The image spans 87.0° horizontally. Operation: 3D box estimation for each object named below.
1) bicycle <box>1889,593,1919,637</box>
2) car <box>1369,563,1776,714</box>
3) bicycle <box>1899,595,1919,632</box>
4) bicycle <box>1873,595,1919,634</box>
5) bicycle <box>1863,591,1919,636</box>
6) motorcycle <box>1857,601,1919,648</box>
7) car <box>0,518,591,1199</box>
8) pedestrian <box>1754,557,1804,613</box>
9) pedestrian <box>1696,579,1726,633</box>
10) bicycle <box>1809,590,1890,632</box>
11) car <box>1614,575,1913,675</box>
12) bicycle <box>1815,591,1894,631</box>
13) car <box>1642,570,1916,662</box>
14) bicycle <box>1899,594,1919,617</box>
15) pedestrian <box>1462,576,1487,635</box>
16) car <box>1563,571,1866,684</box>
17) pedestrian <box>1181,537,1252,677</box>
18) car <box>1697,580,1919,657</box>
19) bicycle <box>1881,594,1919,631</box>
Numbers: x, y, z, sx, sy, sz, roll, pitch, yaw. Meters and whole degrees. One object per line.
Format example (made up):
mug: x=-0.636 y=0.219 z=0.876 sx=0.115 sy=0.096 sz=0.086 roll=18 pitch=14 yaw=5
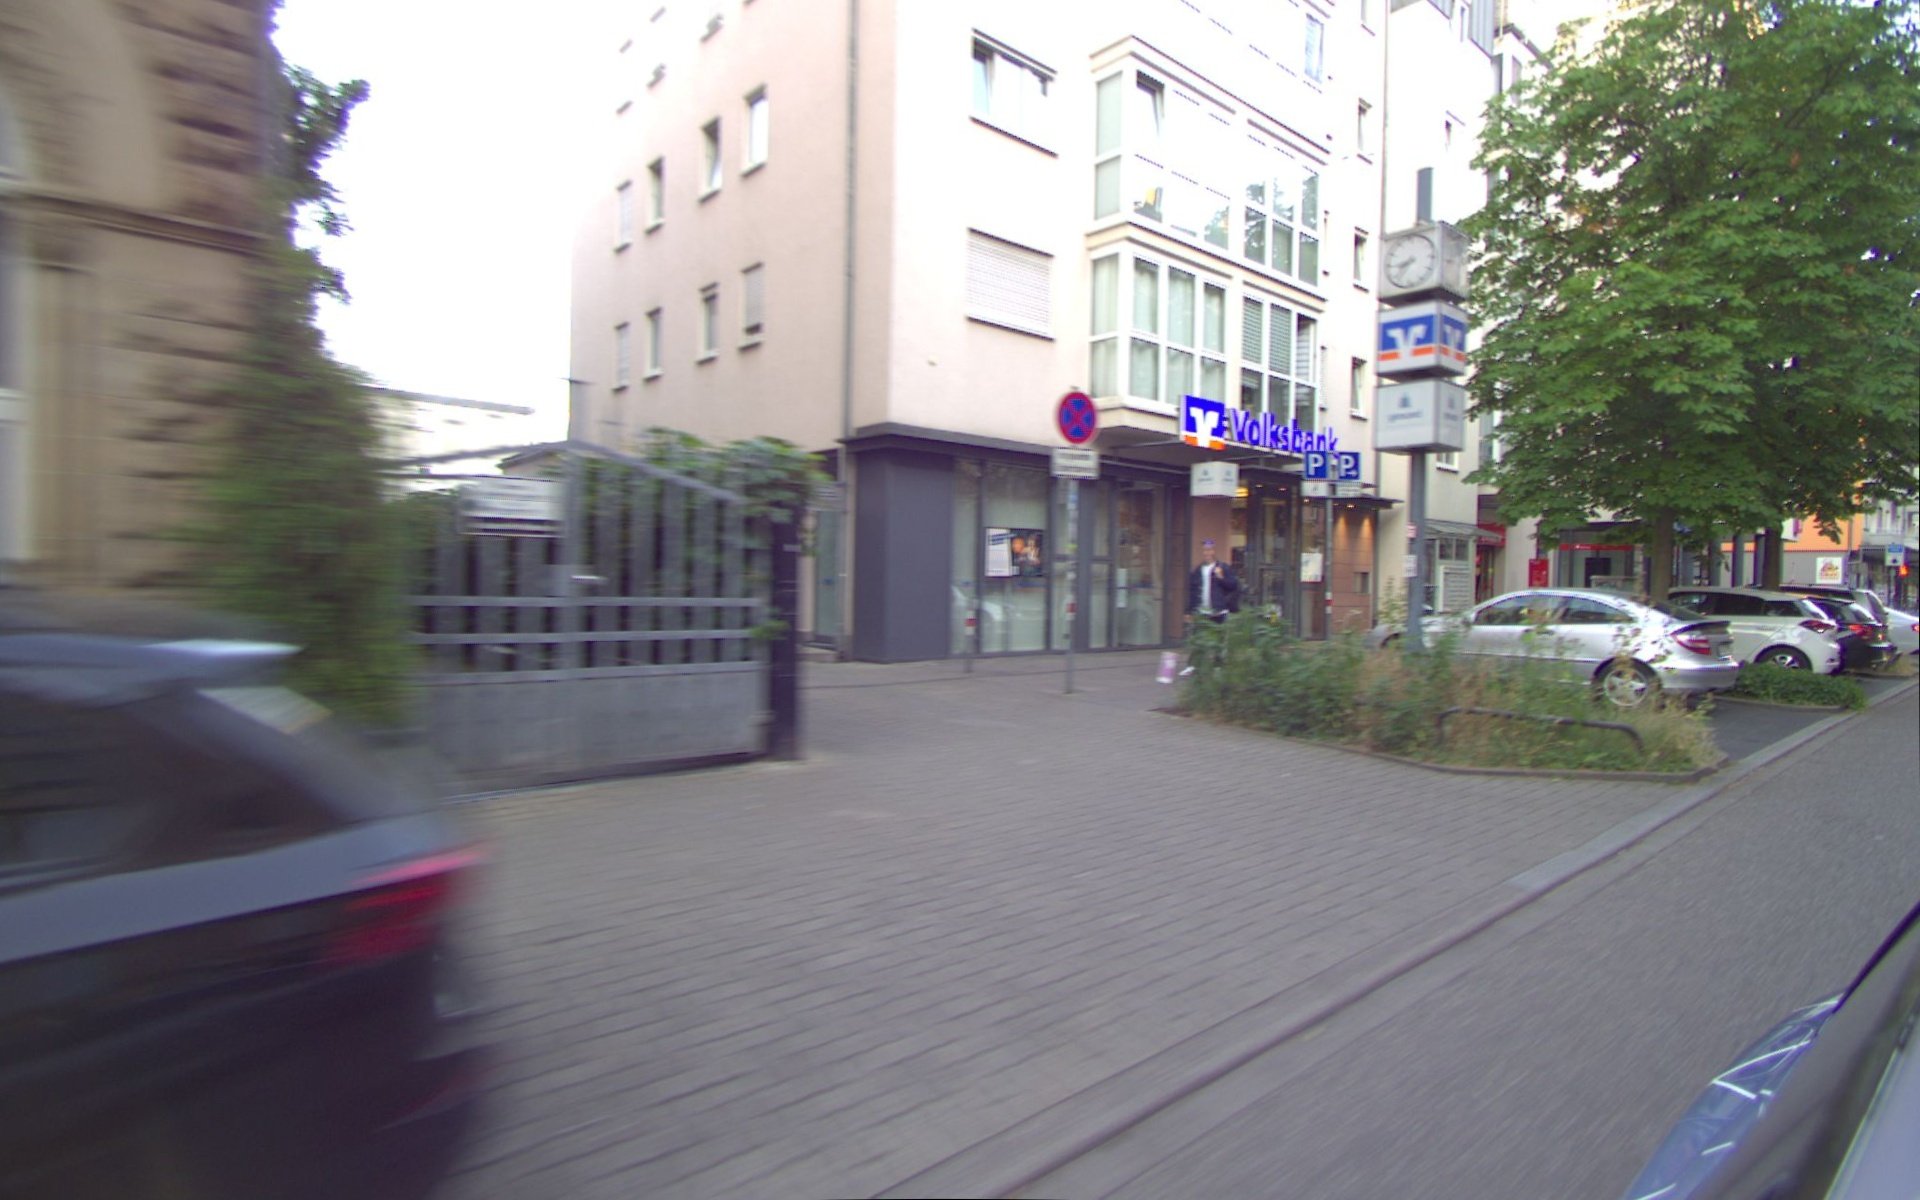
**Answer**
bicycle: x=27.700 y=0.485 z=28.639 sx=0.729 sy=1.196 sz=1.876 roll=0 pitch=5 yaw=-36
car: x=7.782 y=0.369 z=13.205 sx=1.848 sy=1.470 sz=4.099 roll=1 pitch=4 yaw=-38
bicycle: x=30.353 y=0.450 z=31.366 sx=0.695 sy=1.131 sz=1.725 roll=0 pitch=4 yaw=-42
bicycle: x=29.455 y=0.451 z=31.227 sx=0.695 sy=1.131 sz=1.812 roll=0 pitch=4 yaw=-42
bicycle: x=28.067 y=0.400 z=29.956 sx=0.719 sy=1.196 sz=1.798 roll=0 pitch=5 yaw=-30
motorcycle: x=23.990 y=0.645 z=25.431 sx=2.051 sy=1.091 sz=0.656 roll=4 pitch=3 yaw=34
car: x=-2.910 y=0.591 z=1.080 sx=4.399 sy=1.446 sz=1.681 roll=0 pitch=5 yaw=-41
pedestrian: x=26.584 y=-0.479 z=32.848 sx=0.900 sy=1.744 sz=0.773 roll=4 pitch=1 yaw=12
pedestrian: x=24.945 y=0.207 z=33.625 sx=0.657 sy=1.745 sz=0.658 roll=3 pitch=0 yaw=30
bicycle: x=26.391 y=0.315 z=30.052 sx=0.643 sy=1.131 sz=1.724 roll=-1 pitch=4 yaw=-43
car: x=14.469 y=0.364 z=18.376 sx=1.797 sy=1.473 sz=3.993 roll=0 pitch=3 yaw=-43
bicycle: x=28.025 y=0.334 z=31.730 sx=0.641 sy=1.131 sz=1.728 roll=0 pitch=3 yaw=-37
car: x=17.848 y=0.267 z=22.244 sx=1.716 sy=1.667 sz=4.408 roll=0 pitch=3 yaw=-41
bicycle: x=52.029 y=0.302 z=55.195 sx=0.907 sy=1.210 sz=1.690 roll=4 pitch=3 yaw=35
pedestrian: x=15.827 y=0.160 z=31.144 sx=0.579 sy=1.775 sz=0.624 roll=0 pitch=1 yaw=16
car: x=12.446 y=0.373 z=16.843 sx=3.796 sy=1.470 sz=1.708 roll=6 pitch=4 yaw=44
pedestrian: x=3.356 y=0.064 z=13.206 sx=0.721 sy=1.737 sz=0.957 roll=3 pitch=3 yaw=21
car: x=20.150 y=0.390 z=23.727 sx=4.424 sy=1.473 sz=1.752 roll=5 pitch=3 yaw=44
bicycle: x=30.660 y=0.424 z=32.312 sx=0.694 sy=1.131 sz=1.728 roll=0 pitch=3 yaw=-37
